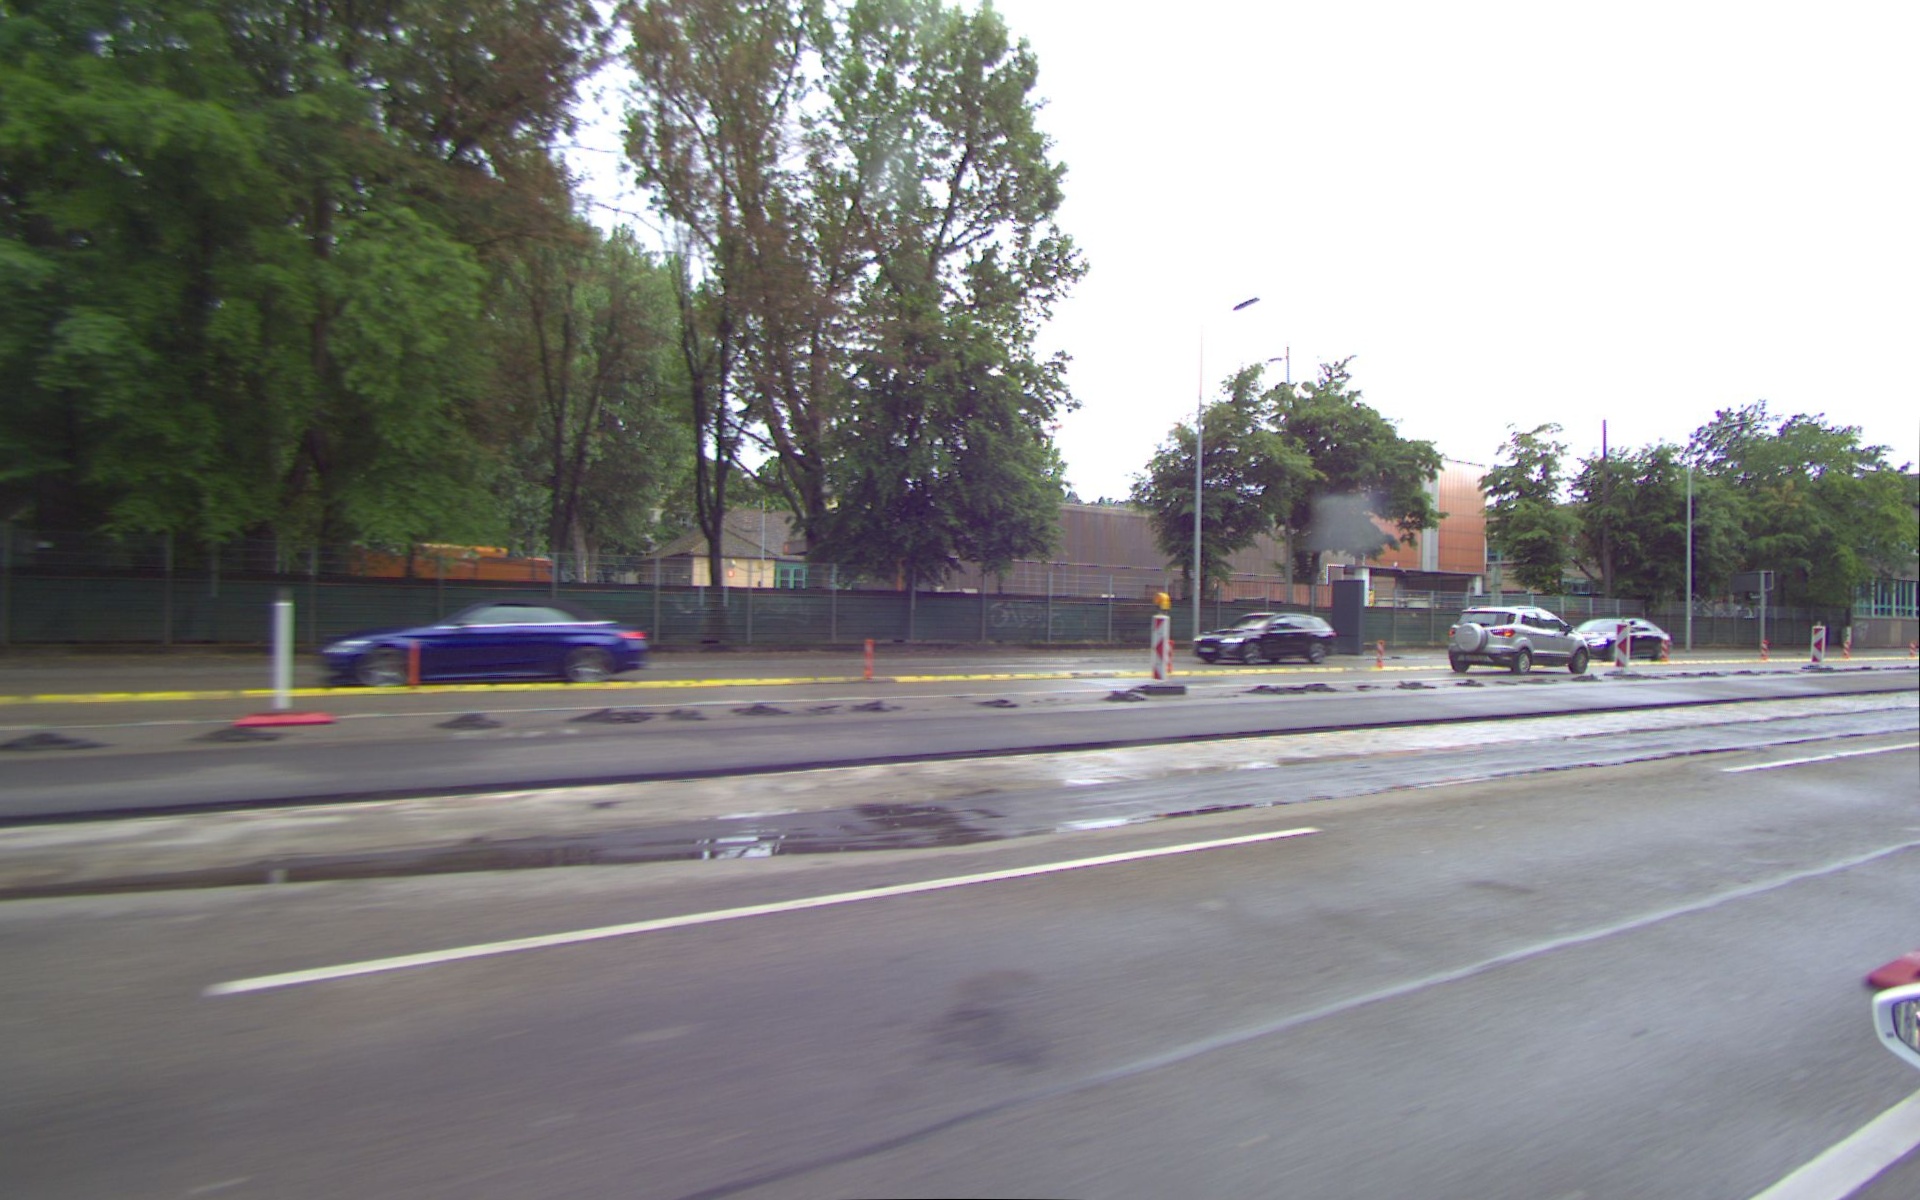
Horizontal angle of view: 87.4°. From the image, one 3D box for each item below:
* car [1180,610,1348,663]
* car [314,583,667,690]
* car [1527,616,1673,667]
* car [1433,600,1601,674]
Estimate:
[{"bbox_3d":[8.687,1.027,28.614,4.510,1.366,1.985,2,0,-29],"label":"car"},{"bbox_3d":[-7.356,0.559,15.986,4.829,1.479,1.983,2,0,-32],"label":"car"},{"bbox_3d":[21.500,1.353,33.676,5.030,1.533,2.068,1,0,-31],"label":"car"},{"bbox_3d":[13.695,0.900,24.647,3.954,1.670,1.845,2,0,-31],"label":"car"}]
